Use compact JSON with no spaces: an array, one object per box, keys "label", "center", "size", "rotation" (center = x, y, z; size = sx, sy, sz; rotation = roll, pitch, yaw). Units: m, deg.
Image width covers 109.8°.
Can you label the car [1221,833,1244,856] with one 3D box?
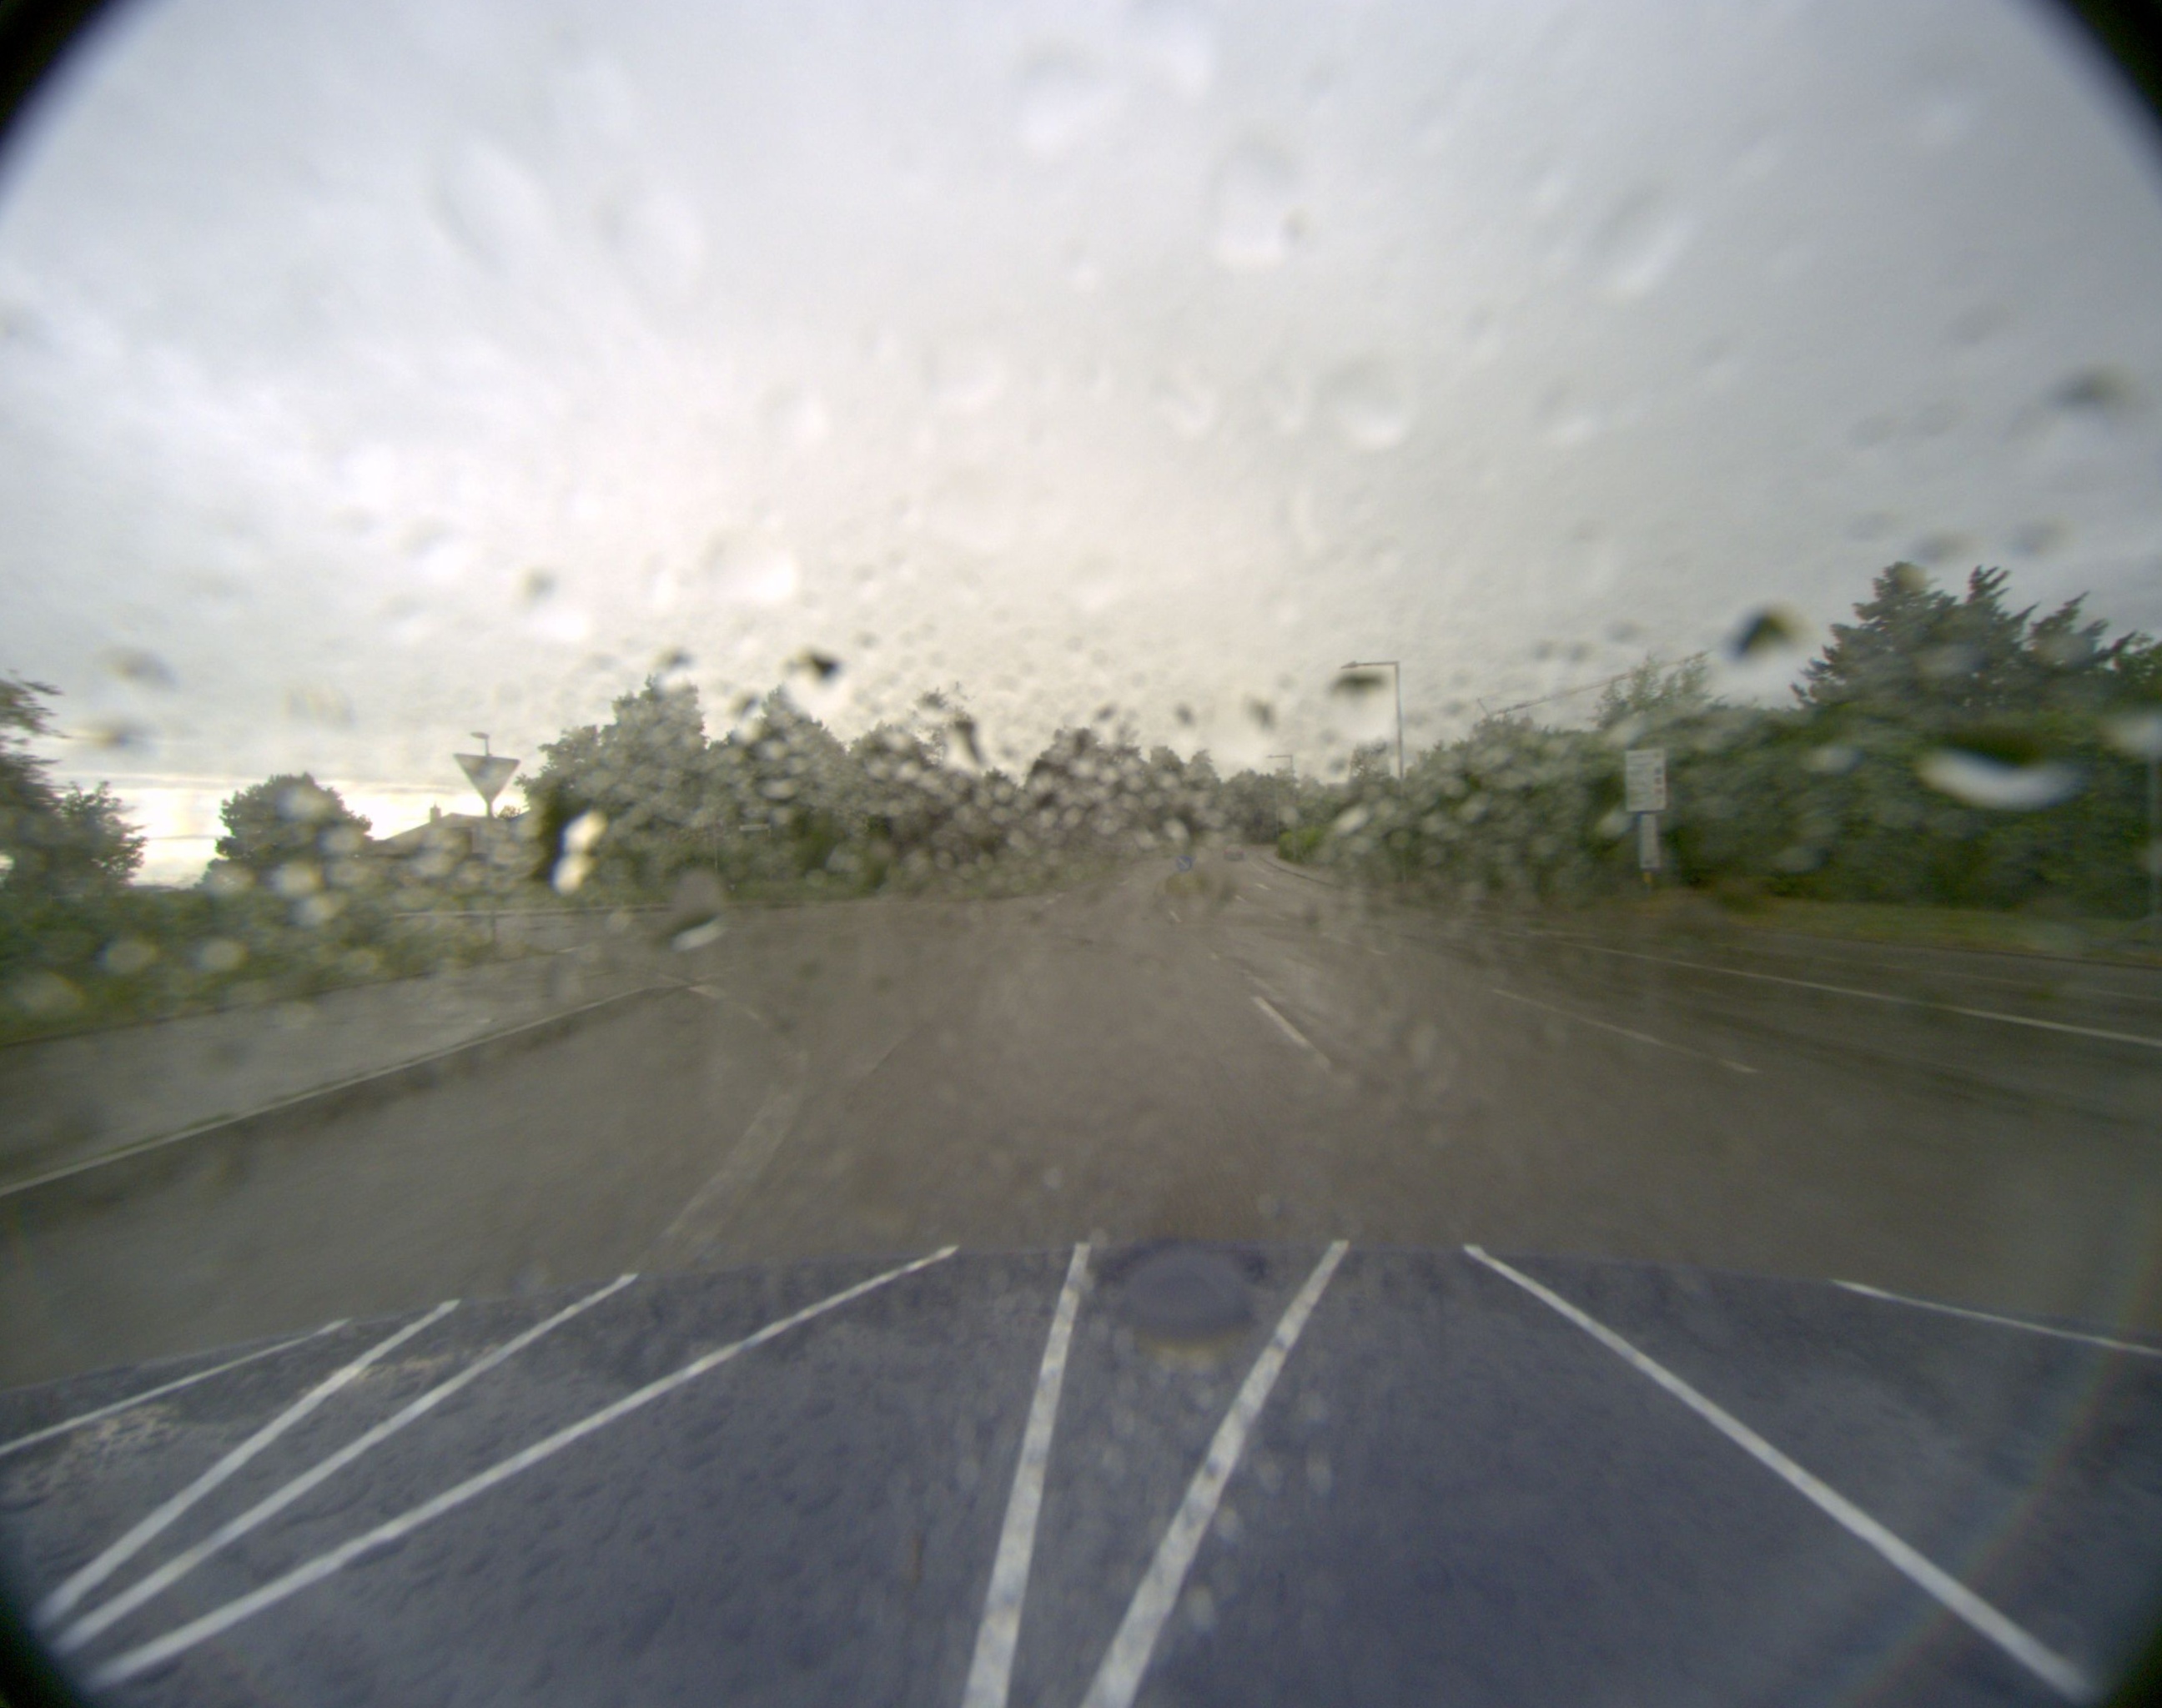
[{"label":"car","center":[14.194,-0.878,71.077],"size":[1.965,2.002,4.003],"rotation":[-2,1,12]}]
